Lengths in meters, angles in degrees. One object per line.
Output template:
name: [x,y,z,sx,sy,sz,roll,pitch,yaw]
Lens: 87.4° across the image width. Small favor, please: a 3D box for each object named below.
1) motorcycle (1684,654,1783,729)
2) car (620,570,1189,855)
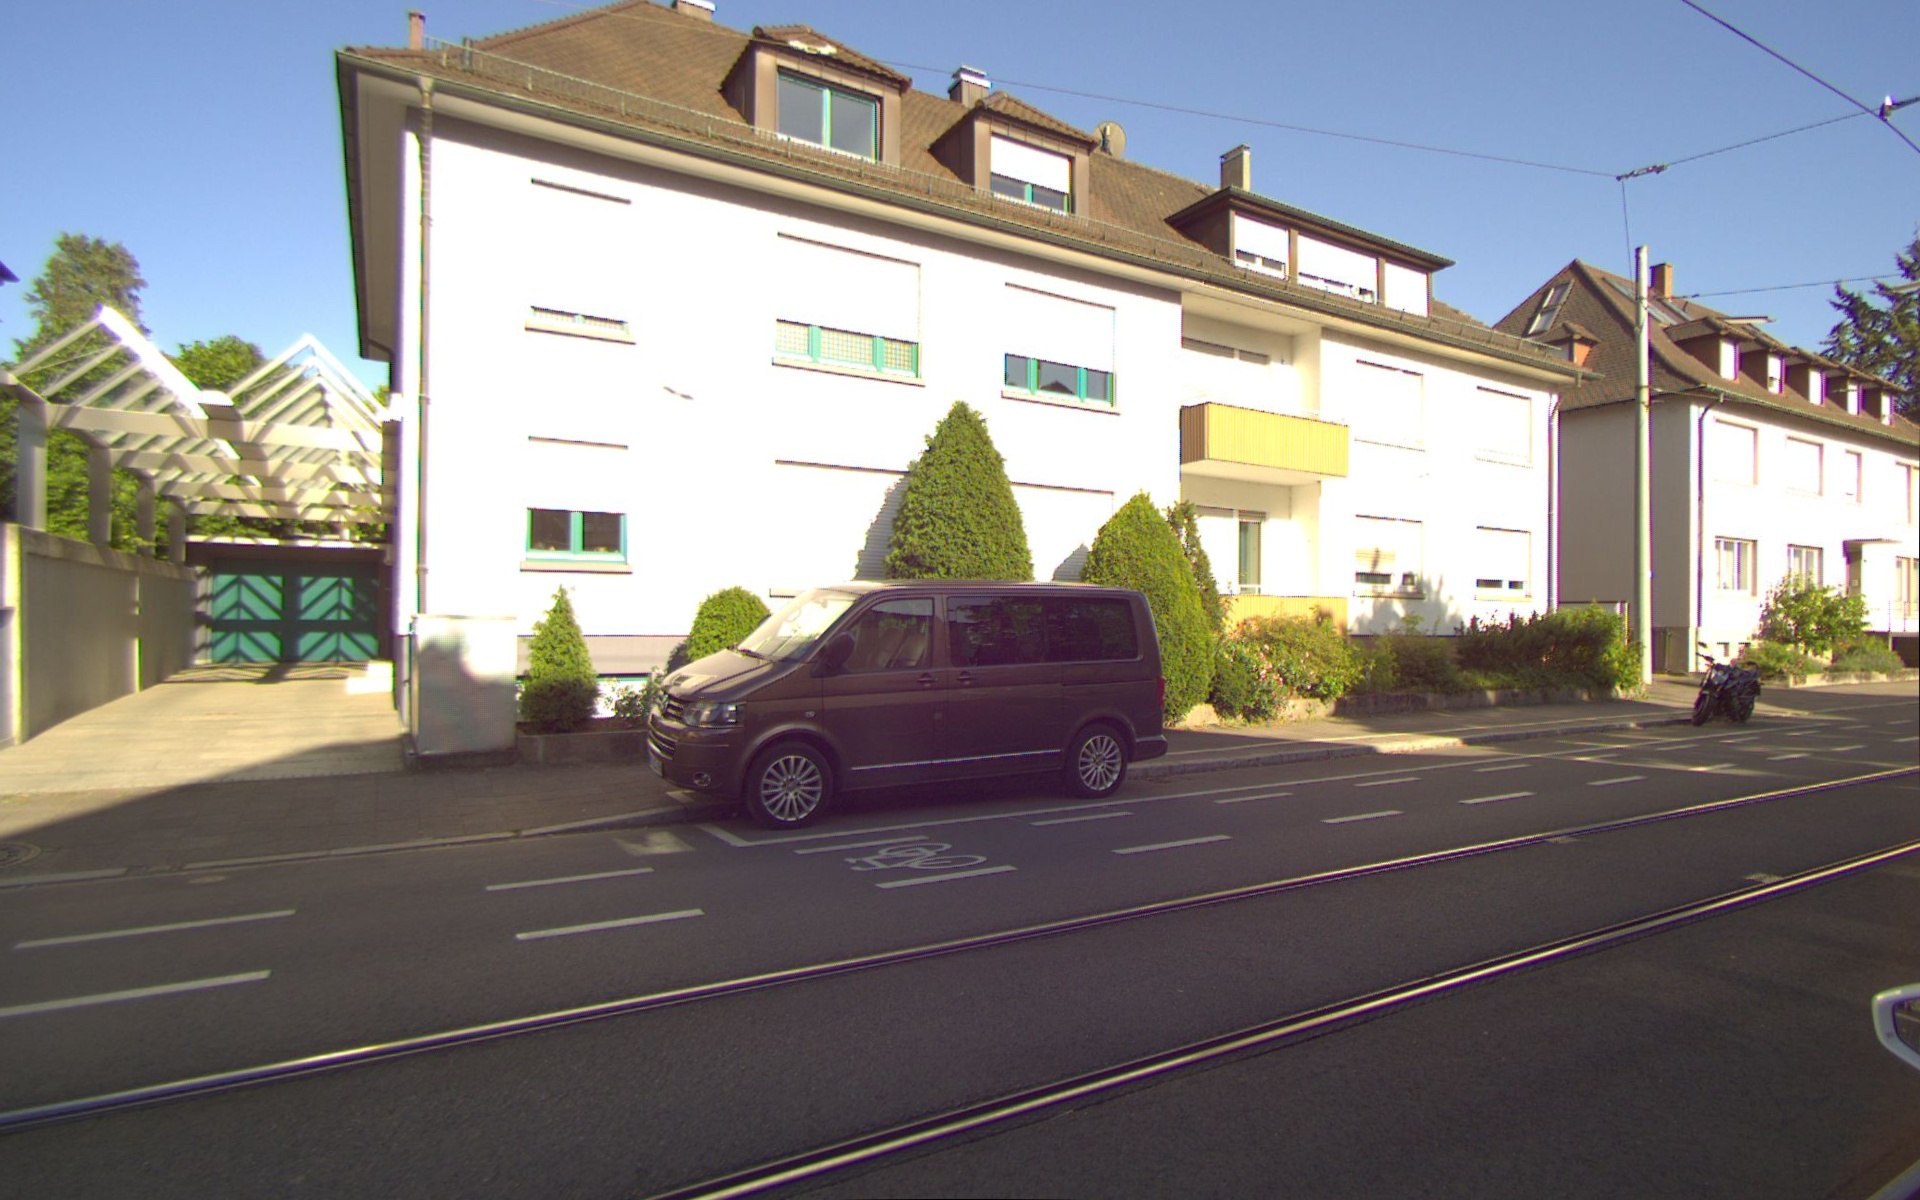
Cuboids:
motorcycle: [13.023,1.513,16.883,2.146,1.177,0.534,1,-3,-31]
car: [-0.402,0.835,9.240,4.890,2.041,1.897,1,0,-30]
